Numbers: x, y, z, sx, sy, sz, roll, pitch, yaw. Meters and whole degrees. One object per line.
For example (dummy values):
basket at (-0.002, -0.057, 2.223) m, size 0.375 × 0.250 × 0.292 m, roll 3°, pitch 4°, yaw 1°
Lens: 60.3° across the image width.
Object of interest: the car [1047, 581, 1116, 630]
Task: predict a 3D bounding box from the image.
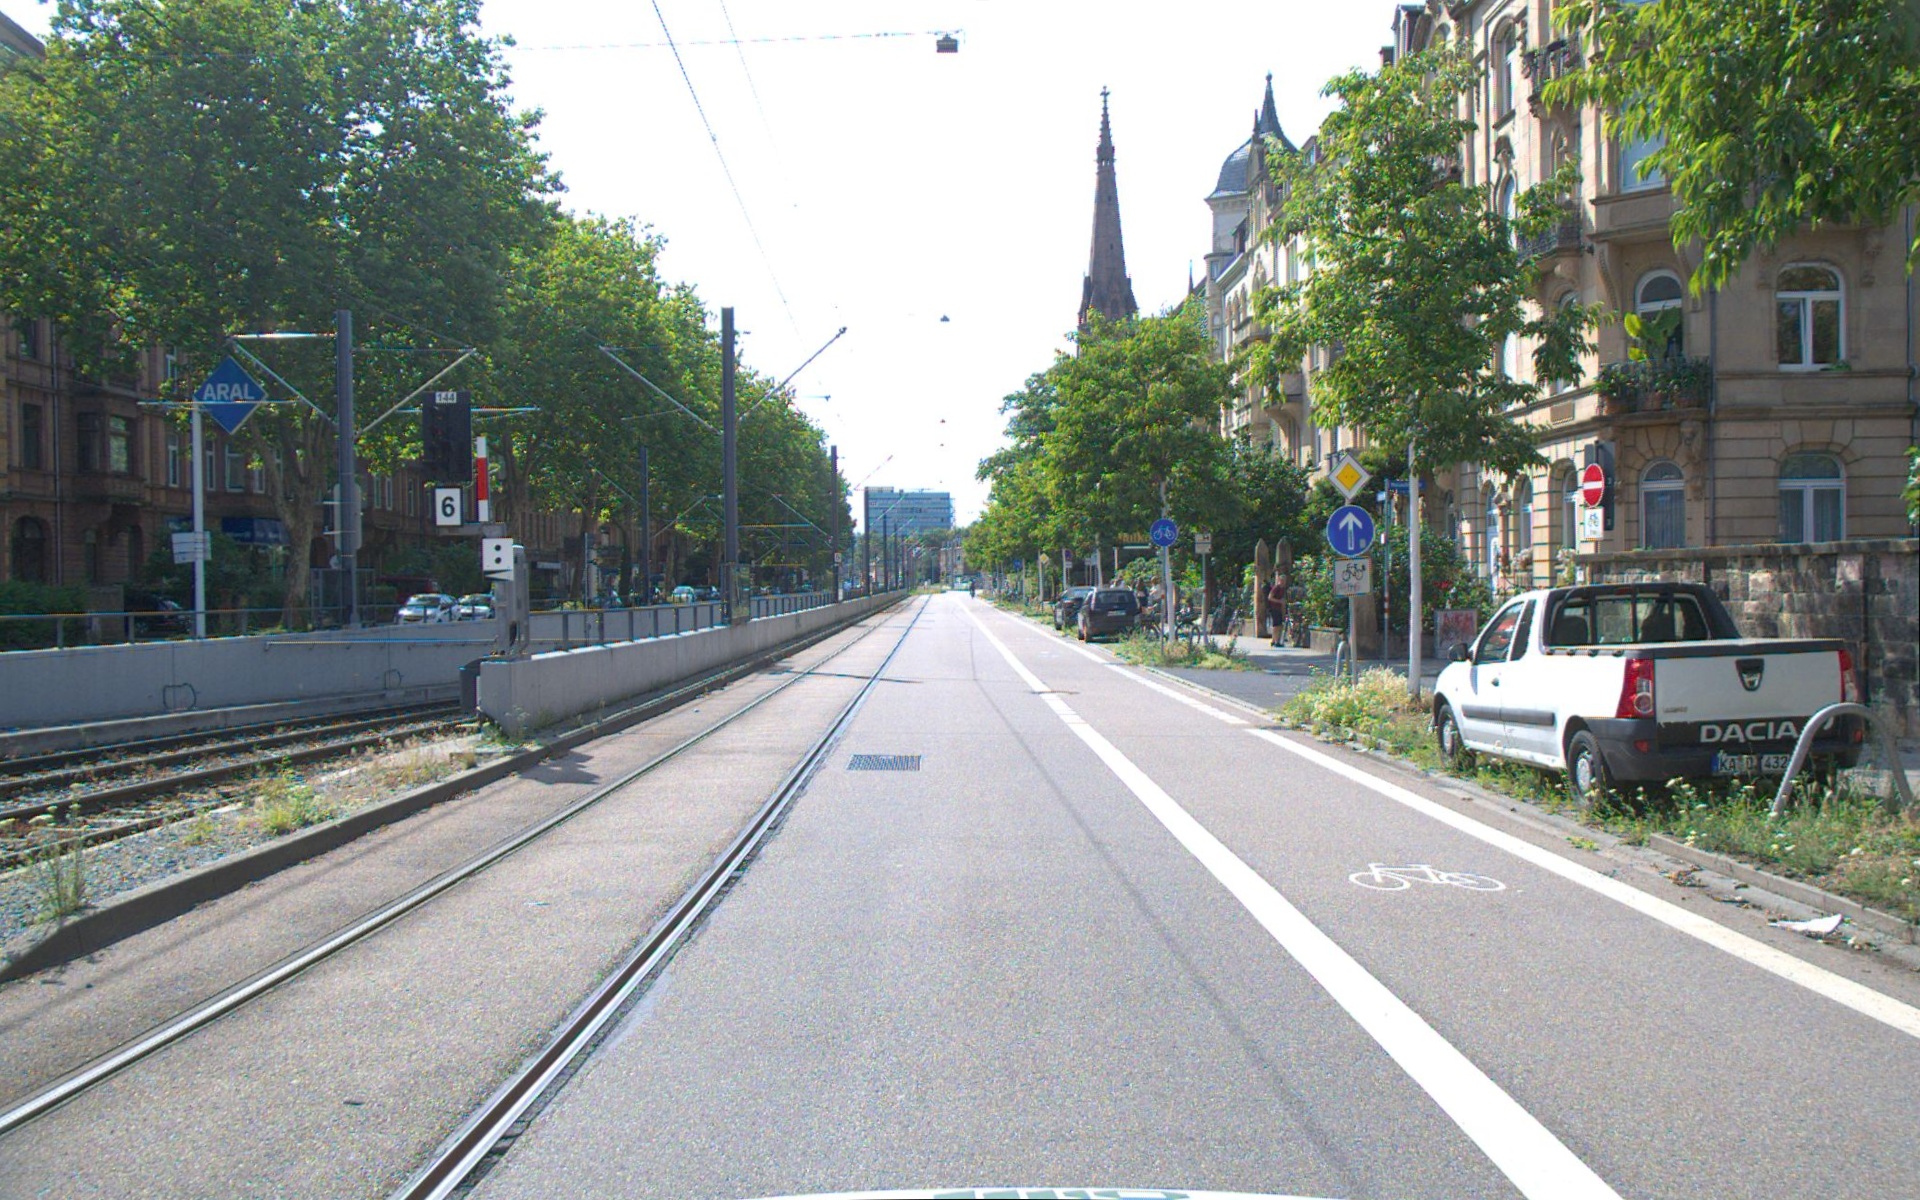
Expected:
car at (4.256, 0.164, 58.524) m, size 1.763 × 1.553 × 4.486 m, roll -3°, pitch 1°, yaw -4°

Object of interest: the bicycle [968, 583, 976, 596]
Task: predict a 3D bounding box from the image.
bicycle at (1.191, -1.011, 164.254) m, size 0.783 × 1.258 × 2.777 m, roll -1°, pitch 1°, yaw 0°

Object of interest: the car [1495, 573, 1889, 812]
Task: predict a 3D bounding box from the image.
car at (5.192, 0.542, 12.273) m, size 1.633 × 1.441 × 3.847 m, roll 1°, pitch 1°, yaw 7°

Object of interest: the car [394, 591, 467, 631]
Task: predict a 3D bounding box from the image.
car at (-19.696, 0.384, 61.635) m, size 1.466 × 1.326 × 3.492 m, roll -3°, pitch 1°, yaw 2°

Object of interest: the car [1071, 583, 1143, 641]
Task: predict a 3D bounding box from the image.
car at (4.259, 0.302, 48.506) m, size 1.651 × 1.528 × 4.708 m, roll -2°, pitch 1°, yaw 0°

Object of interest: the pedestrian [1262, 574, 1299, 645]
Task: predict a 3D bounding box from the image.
pedestrian at (7.561, 0.215, 39.064) m, size 0.708 × 1.657 × 0.725 m, roll -1°, pitch 0°, yaw -1°

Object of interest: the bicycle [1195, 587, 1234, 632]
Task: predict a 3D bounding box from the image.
bicycle at (7.645, 0.278, 49.813) m, size 0.644 × 1.270 × 2.942 m, roll -4°, pitch 0°, yaw -1°

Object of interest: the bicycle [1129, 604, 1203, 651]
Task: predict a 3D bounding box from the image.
bicycle at (4.917, 0.650, 39.432) m, size 1.673 × 1.088 × 0.470 m, roll -1°, pitch 0°, yaw -7°

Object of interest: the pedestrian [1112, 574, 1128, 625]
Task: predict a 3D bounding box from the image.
pedestrian at (5.905, -0.016, 61.028) m, size 0.450 × 1.836 × 0.319 m, roll -3°, pitch 1°, yaw -2°

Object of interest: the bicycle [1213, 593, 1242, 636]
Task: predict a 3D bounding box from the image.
bicycle at (7.581, 0.387, 46.956) m, size 0.419 × 1.159 × 2.023 m, roll -4°, pitch 0°, yaw -1°

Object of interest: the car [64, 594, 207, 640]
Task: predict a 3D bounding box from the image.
car at (-28.321, 0.561, 56.888) m, size 3.904 × 1.509 × 2.000 m, roll -1°, pitch 0°, yaw 1°

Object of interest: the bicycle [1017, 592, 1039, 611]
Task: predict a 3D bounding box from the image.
bicycle at (4.081, 0.093, 99.473) m, size 0.640 × 1.057 × 1.810 m, roll -3°, pitch 1°, yaw -22°

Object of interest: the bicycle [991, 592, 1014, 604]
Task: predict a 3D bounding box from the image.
bicycle at (3.461, -0.165, 133.482) m, size 1.780 × 0.918 × 0.603 m, roll -3°, pitch 1°, yaw -4°

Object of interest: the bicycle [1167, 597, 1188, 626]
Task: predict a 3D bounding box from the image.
bicycle at (7.485, 0.391, 56.942) m, size 0.419 × 0.956 × 1.807 m, roll -4°, pitch 0°, yaw -1°

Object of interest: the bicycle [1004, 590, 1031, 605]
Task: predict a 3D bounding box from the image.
bicycle at (4.080, -0.195, 117.289) m, size 1.780 × 0.918 × 0.651 m, roll -3°, pitch 1°, yaw -4°

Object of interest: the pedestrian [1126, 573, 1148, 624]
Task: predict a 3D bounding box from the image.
pedestrian at (6.483, -0.050, 60.653) m, size 0.656 × 1.836 × 0.319 m, roll -3°, pitch 1°, yaw -3°

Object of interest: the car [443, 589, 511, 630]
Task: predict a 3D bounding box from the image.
car at (-19.779, 0.361, 67.923) m, size 1.610 × 1.508 × 4.001 m, roll -3°, pitch 1°, yaw -1°

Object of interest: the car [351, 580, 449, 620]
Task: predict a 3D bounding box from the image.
car at (-28.404, -0.010, 84.010) m, size 4.313 × 1.952 × 1.999 m, roll -1°, pitch 0°, yaw -2°

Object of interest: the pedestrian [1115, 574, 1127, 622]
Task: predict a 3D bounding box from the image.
pedestrian at (5.895, -0.077, 60.550) m, size 0.311 × 1.736 × 0.461 m, roll -3°, pitch 1°, yaw 13°

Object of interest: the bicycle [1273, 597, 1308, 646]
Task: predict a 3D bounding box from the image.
bicycle at (7.780, 0.490, 38.978) m, size 0.460 × 1.127 × 1.711 m, roll -1°, pitch 0°, yaw -1°

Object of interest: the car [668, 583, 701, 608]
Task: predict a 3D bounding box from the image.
car at (-21.058, -0.347, 126.695) m, size 1.801 × 1.757 × 4.000 m, roll -3°, pitch 1°, yaw -1°

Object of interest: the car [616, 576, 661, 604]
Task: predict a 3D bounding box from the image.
car at (-21.075, -0.658, 108.503) m, size 1.952 × 1.665 × 4.001 m, roll -3°, pitch 1°, yaw 1°

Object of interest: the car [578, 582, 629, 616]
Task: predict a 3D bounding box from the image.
car at (-20.221, -0.062, 93.886) m, size 1.682 × 1.720 × 3.733 m, roll -3°, pitch 1°, yaw 6°

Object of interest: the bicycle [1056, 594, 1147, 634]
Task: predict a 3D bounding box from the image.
bicycle at (4.699, 0.459, 55.014) m, size 2.896 × 1.268 × 0.790 m, roll -1°, pitch 0°, yaw -14°

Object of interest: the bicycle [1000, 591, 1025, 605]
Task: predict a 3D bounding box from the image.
bicycle at (3.857, -0.121, 122.222) m, size 1.780 × 0.918 × 0.603 m, roll -3°, pitch 1°, yaw -4°

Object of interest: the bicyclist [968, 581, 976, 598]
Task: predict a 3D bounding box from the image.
bicyclist at (1.190, -1.050, 164.168) m, size 0.755 × 1.760 × 1.026 m, roll -1°, pitch 0°, yaw 0°

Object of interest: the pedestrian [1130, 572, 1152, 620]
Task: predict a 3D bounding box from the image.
pedestrian at (6.446, -0.142, 58.945) m, size 0.520 × 1.705 × 0.571 m, roll -3°, pitch 1°, yaw -19°

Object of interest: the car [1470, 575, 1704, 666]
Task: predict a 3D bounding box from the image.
car at (11.498, 0.356, 30.521) m, size 3.664 × 1.583 × 1.757 m, roll -1°, pitch 0°, yaw 3°
